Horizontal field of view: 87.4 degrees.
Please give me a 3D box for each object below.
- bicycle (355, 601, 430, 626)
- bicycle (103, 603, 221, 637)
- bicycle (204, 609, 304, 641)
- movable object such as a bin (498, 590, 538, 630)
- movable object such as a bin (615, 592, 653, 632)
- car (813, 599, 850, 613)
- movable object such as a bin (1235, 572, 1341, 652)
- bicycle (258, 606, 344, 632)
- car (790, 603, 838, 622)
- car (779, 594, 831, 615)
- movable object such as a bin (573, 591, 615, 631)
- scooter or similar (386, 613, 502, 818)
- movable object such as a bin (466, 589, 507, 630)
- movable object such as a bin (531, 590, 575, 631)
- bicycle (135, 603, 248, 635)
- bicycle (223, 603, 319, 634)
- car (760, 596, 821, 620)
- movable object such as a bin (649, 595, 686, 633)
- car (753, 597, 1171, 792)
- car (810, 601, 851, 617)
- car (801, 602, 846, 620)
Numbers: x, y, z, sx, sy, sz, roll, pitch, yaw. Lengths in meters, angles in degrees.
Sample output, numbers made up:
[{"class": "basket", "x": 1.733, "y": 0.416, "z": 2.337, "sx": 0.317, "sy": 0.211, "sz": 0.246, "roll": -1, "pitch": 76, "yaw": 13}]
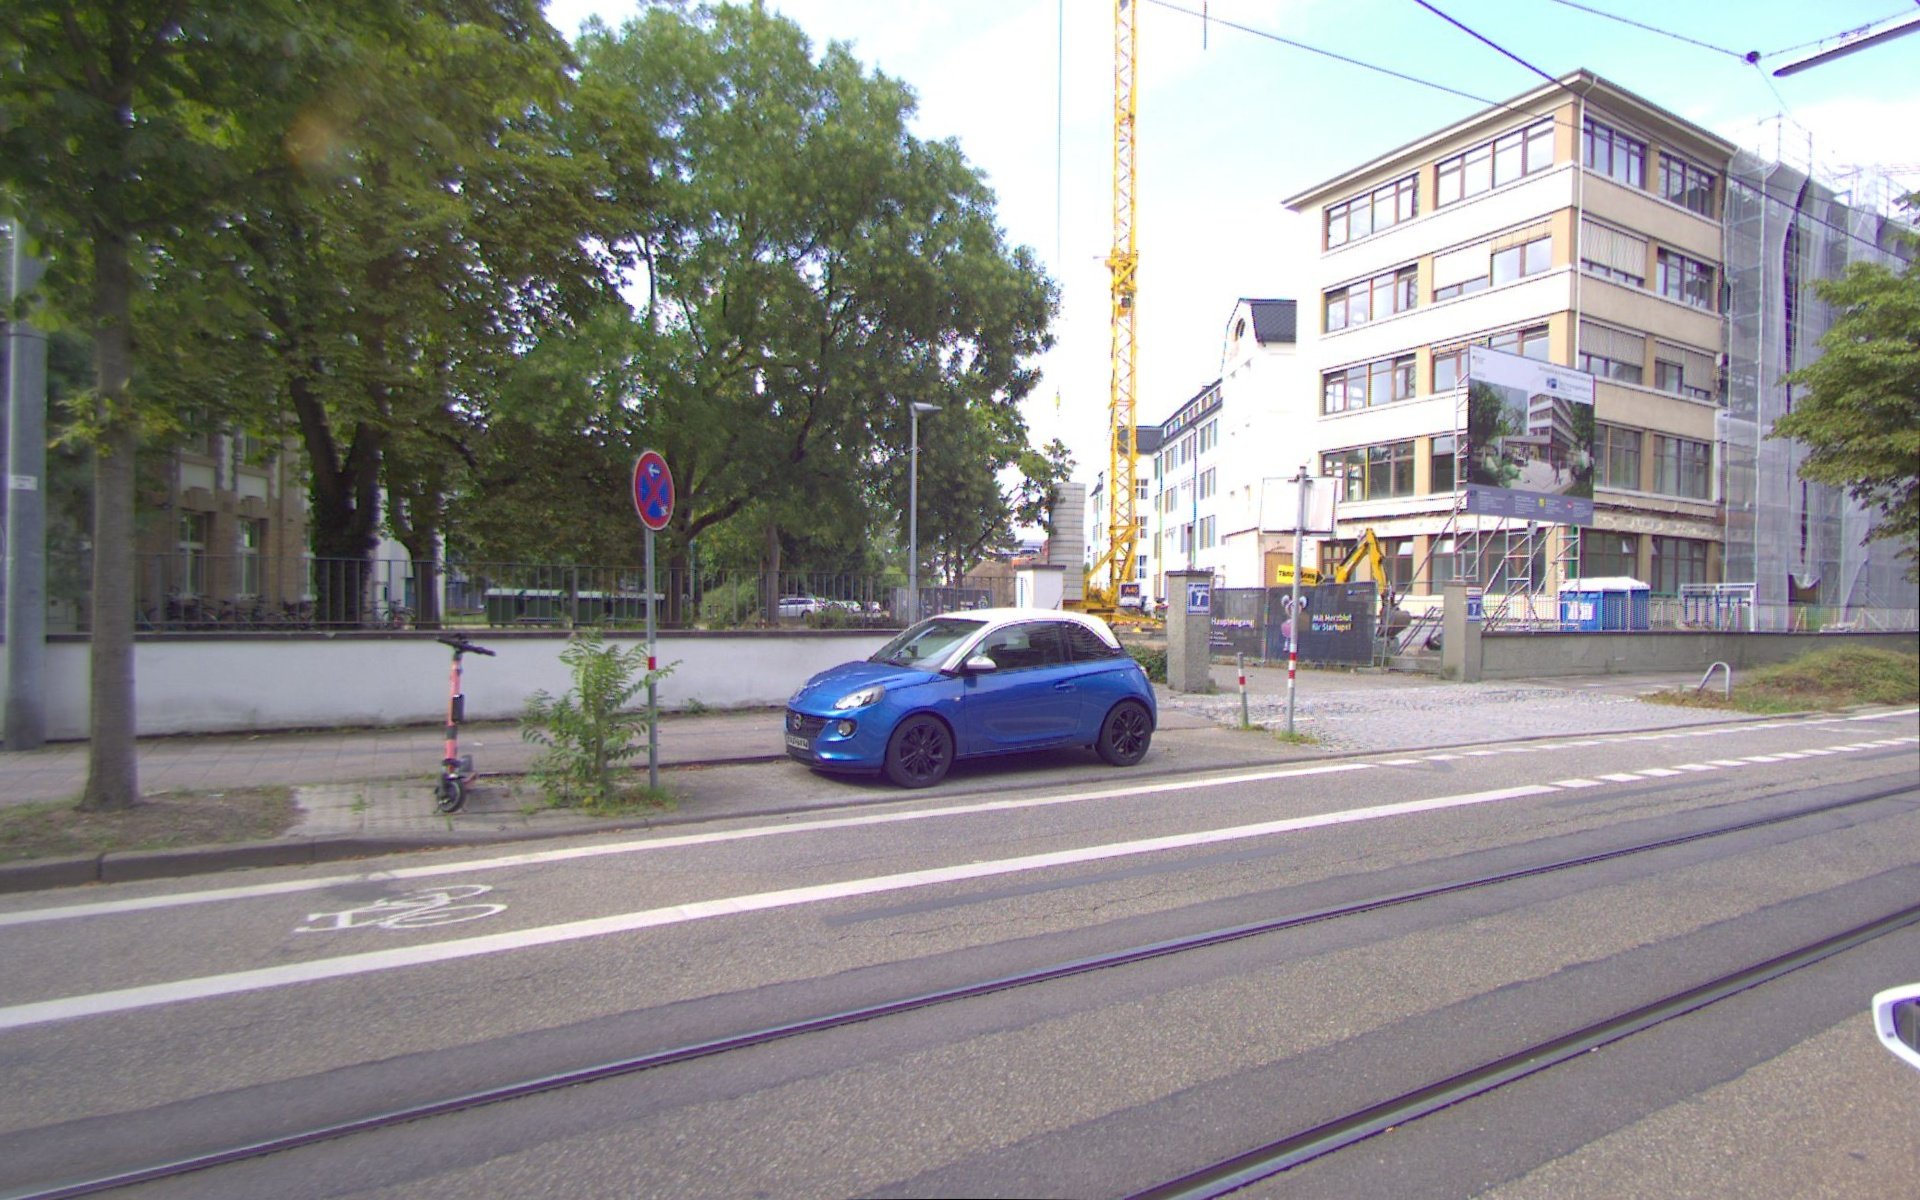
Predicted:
[{"class": "bicycle", "x": -18.665, "y": 0.432, "z": 33.048, "sx": 2.010, "sy": 0.783, "sz": 0.713, "roll": 1, "pitch": 1, "yaw": -10}, {"class": "bicycle", "x": -18.171, "y": 0.457, "z": 22.911, "sx": 2.010, "sy": 0.718, "sz": 0.713, "roll": 1, "pitch": 1, "yaw": -10}, {"class": "bicycle", "x": -18.346, "y": 0.637, "z": 26.133, "sx": 2.010, "sy": 0.783, "sz": 0.713, "roll": 1, "pitch": 1, "yaw": -10}, {"class": "movable object such as a bin", "x": -15.606, "y": 0.338, "z": 35.472, "sx": 1.001, "sy": 1.393, "sz": 0.970, "roll": 1, "pitch": 1, "yaw": -4}, {"class": "movable object such as a bin", "x": -11.543, "y": 0.417, "z": 35.611, "sx": 1.073, "sy": 1.393, "sz": 0.861, "roll": 1, "pitch": 1, "yaw": -4}, {"class": "car", "x": -14.178, "y": 0.680, "z": 110.506, "sx": 3.928, "sy": 1.518, "sz": 1.911, "roll": 1, "pitch": 0, "yaw": -10}, {"class": "movable object such as a bin", "x": 8.995, "y": 0.321, "z": 27.619, "sx": 1.936, "sy": 2.095, "sz": 1.978, "roll": 1, "pitch": 0, "yaw": -28}, {"class": "bicycle", "x": -18.892, "y": 0.542, "z": 28.814, "sx": 2.028, "sy": 0.718, "sz": 0.707, "roll": 1, "pitch": 1, "yaw": -38}, {"class": "car", "x": -12.323, "y": 1.038, "z": 84.444, "sx": 3.928, "sy": 1.518, "sz": 1.911, "roll": 1, "pitch": 0, "yaw": -10}, {"class": "car", "x": -12.060, "y": 0.335, "z": 78.016, "sx": 3.928, "sy": 1.518, "sz": 1.911, "roll": 1, "pitch": 0, "yaw": -10}, {"class": "movable object such as a bin", "x": -12.966, "y": 0.388, "z": 35.639, "sx": 1.181, "sy": 1.393, "sz": 0.861, "roll": 1, "pitch": 1, "yaw": -4}, {"class": "scooter or similar", "x": -3.830, "y": 0.781, "z": 7.466, "sx": 0.691, "sy": 1.362, "sz": 1.438, "roll": 1, "pitch": -1, "yaw": -28}, {"class": "movable object such as a bin", "x": -16.675, "y": 0.317, "z": 35.422, "sx": 1.001, "sy": 1.393, "sz": 0.970, "roll": 1, "pitch": 1, "yaw": -4}, {"class": "movable object such as a bin", "x": -14.384, "y": 0.362, "z": 35.491, "sx": 1.181, "sy": 1.393, "sz": 0.970, "roll": 1, "pitch": 1, "yaw": -4}, {"class": "bicycle", "x": -18.235, "y": 0.444, "z": 23.865, "sx": 2.010, "sy": 0.718, "sz": 0.713, "roll": 1, "pitch": 1, "yaw": -10}, {"class": "bicycle", "x": -18.548, "y": 0.506, "z": 27.070, "sx": 2.010, "sy": 0.783, "sz": 0.713, "roll": 1, "pitch": 1, "yaw": -10}, {"class": "car", "x": -11.202, "y": 0.520, "z": 66.619, "sx": 3.928, "sy": 1.518, "sz": 1.911, "roll": 1, "pitch": 0, "yaw": -10}, {"class": "movable object such as a bin", "x": -10.306, "y": 0.496, "z": 35.408, "sx": 1.073, "sy": 1.290, "sz": 0.861, "roll": 1, "pitch": 1, "yaw": -4}, {"class": "car", "x": 0.061, "y": 0.766, "z": 9.582, "sx": 3.635, "sy": 1.507, "sz": 1.684, "roll": 1, "pitch": 1, "yaw": -31}, {"class": "car", "x": -12.526, "y": 0.876, "z": 97.050, "sx": 3.928, "sy": 1.518, "sz": 1.911, "roll": 1, "pitch": 0, "yaw": -10}, {"class": "car", "x": -12.333, "y": 0.964, "z": 90.682, "sx": 3.928, "sy": 1.518, "sz": 1.911, "roll": 1, "pitch": 0, "yaw": -10}]
